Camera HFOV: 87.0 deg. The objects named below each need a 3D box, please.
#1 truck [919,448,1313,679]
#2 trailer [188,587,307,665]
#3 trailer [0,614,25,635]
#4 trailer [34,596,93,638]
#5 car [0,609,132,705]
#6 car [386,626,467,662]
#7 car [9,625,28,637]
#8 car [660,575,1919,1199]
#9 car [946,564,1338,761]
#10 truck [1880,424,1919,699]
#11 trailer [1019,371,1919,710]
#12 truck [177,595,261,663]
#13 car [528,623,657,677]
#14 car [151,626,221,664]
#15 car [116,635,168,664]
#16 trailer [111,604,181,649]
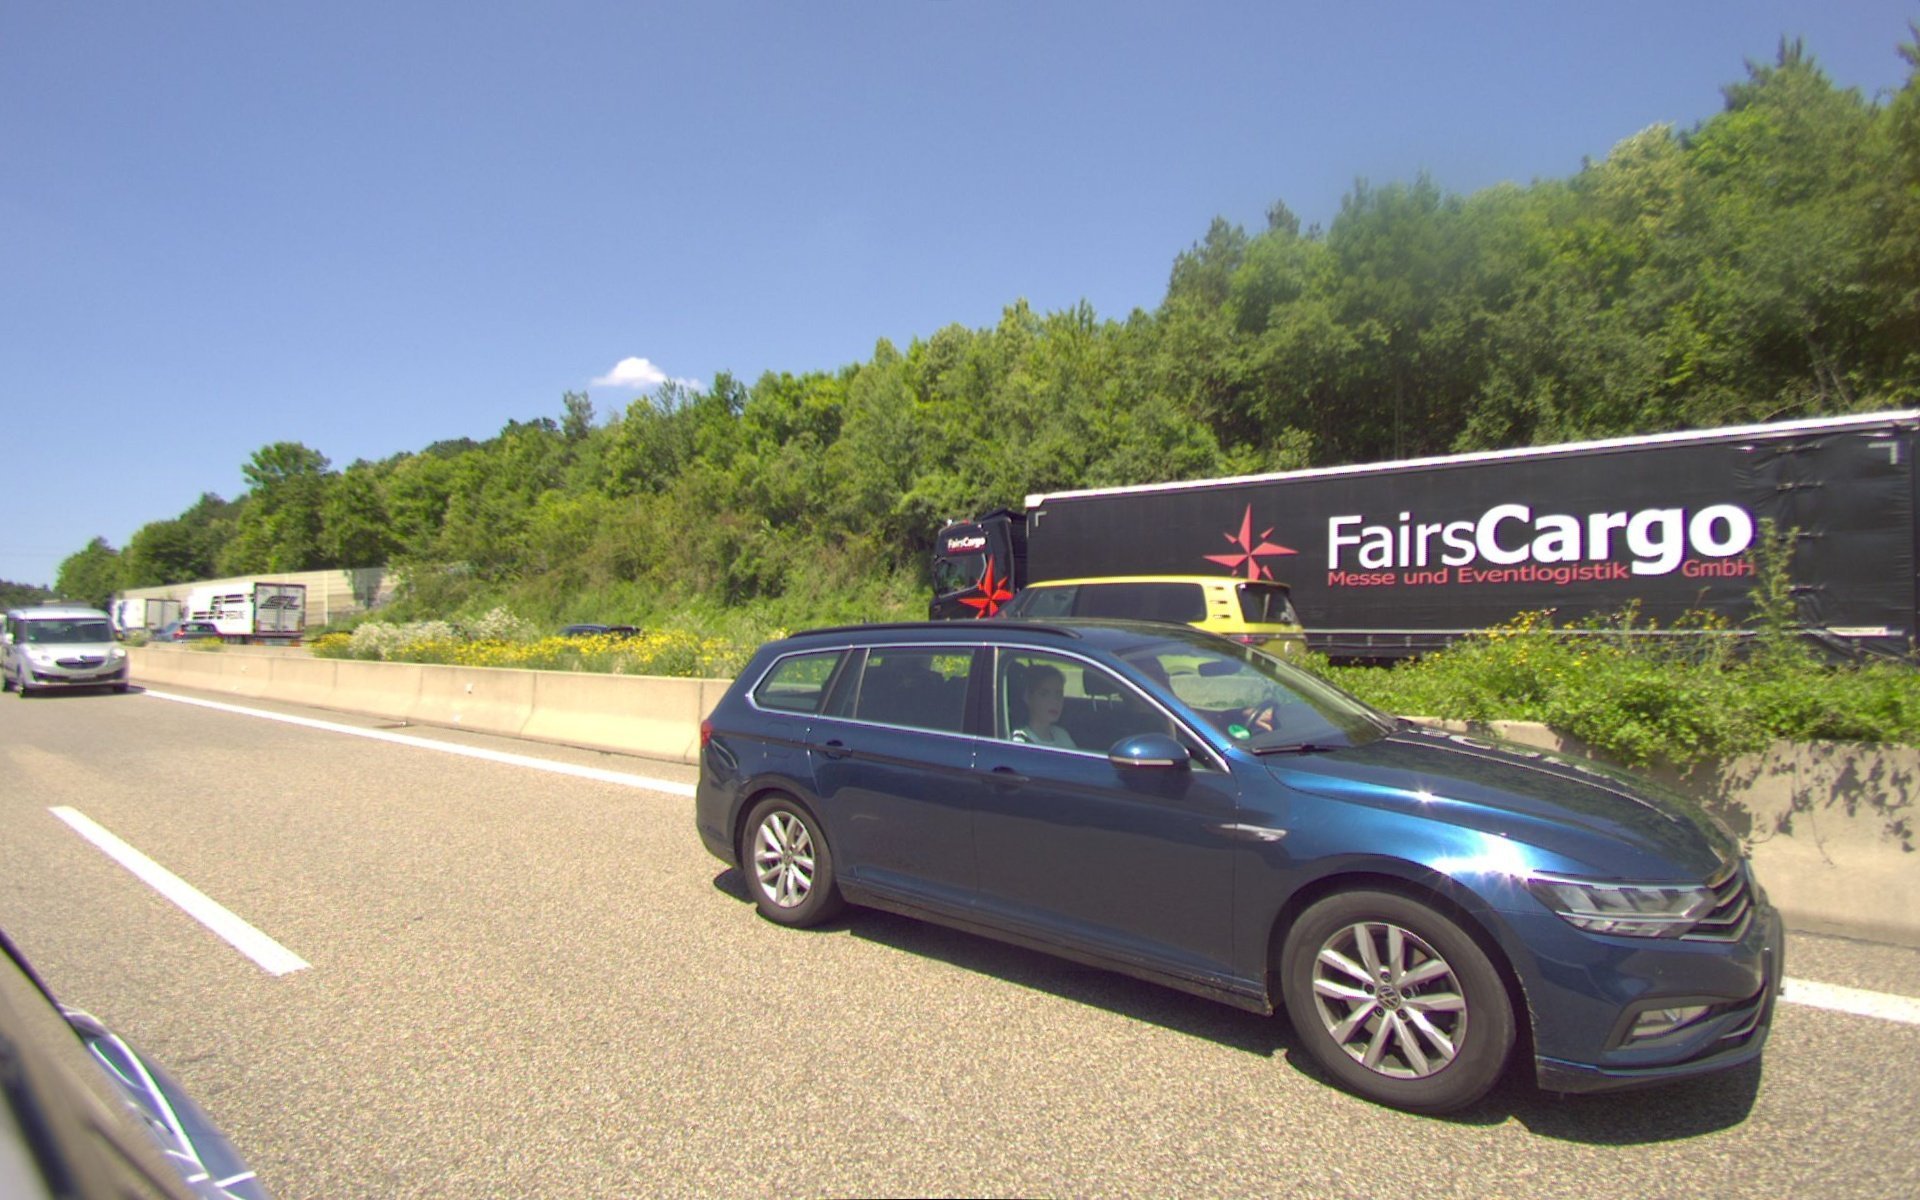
[{"bbox_3d":[2.992,-0.538,21.132,7.764,4.004,2.876,-1,-3,41],"label":"truck"},{"bbox_3d":[-44.208,1.545,62.495,14.032,4.371,2.773,-1,-3,42],"label":"trailer"},{"bbox_3d":[-183.363,4.703,195.482,13.825,3.938,2.782,-1,-3,43],"label":"trailer"},{"bbox_3d":[-95.016,1.826,107.117,14.732,4.197,2.805,-1,-3,42],"label":"trailer"},{"bbox_3d":[-19.323,1.165,21.713,3.998,1.858,1.757,-2,-2,41],"label":"car"},{"bbox_3d":[-21.658,1.770,41.008,3.997,1.377,1.547,-2,-3,41],"label":"car"},{"bbox_3d":[-154.376,5.102,165.931,3.998,2.029,1.973,-2,-1,41],"label":"car"},{"bbox_3d":[0.790,0.744,4.343,4.727,1.438,1.714,-1,-3,41],"label":"car"},{"bbox_3d":[2.123,0.721,12.598,4.466,2.029,1.860,-1,-4,41],"label":"car"},{"bbox_3d":[20.924,-0.599,10.809,16.255,4.013,3.006,-1,-2,41],"label":"truck"},{"bbox_3d":[7.394,-0.583,17.273,13.882,4.004,2.875,-1,-3,41],"label":"trailer"},{"bbox_3d":[-48.838,1.885,66.603,7.596,4.197,2.774,-1,-3,41],"label":"truck"},{"bbox_3d":[-10.061,1.333,27.573,3.997,1.377,1.547,-2,-3,41],"label":"car"},{"bbox_3d":[-33.061,1.917,43.213,3.997,1.530,1.547,-2,-3,41],"label":"car"},{"bbox_3d":[-53.366,3.203,65.977,4.728,1.790,1.766,-1,-3,41],"label":"car"},{"bbox_3d":[-77.229,2.496,95.903,12.619,4.078,2.778,-1,-3,41],"label":"trailer"}]
